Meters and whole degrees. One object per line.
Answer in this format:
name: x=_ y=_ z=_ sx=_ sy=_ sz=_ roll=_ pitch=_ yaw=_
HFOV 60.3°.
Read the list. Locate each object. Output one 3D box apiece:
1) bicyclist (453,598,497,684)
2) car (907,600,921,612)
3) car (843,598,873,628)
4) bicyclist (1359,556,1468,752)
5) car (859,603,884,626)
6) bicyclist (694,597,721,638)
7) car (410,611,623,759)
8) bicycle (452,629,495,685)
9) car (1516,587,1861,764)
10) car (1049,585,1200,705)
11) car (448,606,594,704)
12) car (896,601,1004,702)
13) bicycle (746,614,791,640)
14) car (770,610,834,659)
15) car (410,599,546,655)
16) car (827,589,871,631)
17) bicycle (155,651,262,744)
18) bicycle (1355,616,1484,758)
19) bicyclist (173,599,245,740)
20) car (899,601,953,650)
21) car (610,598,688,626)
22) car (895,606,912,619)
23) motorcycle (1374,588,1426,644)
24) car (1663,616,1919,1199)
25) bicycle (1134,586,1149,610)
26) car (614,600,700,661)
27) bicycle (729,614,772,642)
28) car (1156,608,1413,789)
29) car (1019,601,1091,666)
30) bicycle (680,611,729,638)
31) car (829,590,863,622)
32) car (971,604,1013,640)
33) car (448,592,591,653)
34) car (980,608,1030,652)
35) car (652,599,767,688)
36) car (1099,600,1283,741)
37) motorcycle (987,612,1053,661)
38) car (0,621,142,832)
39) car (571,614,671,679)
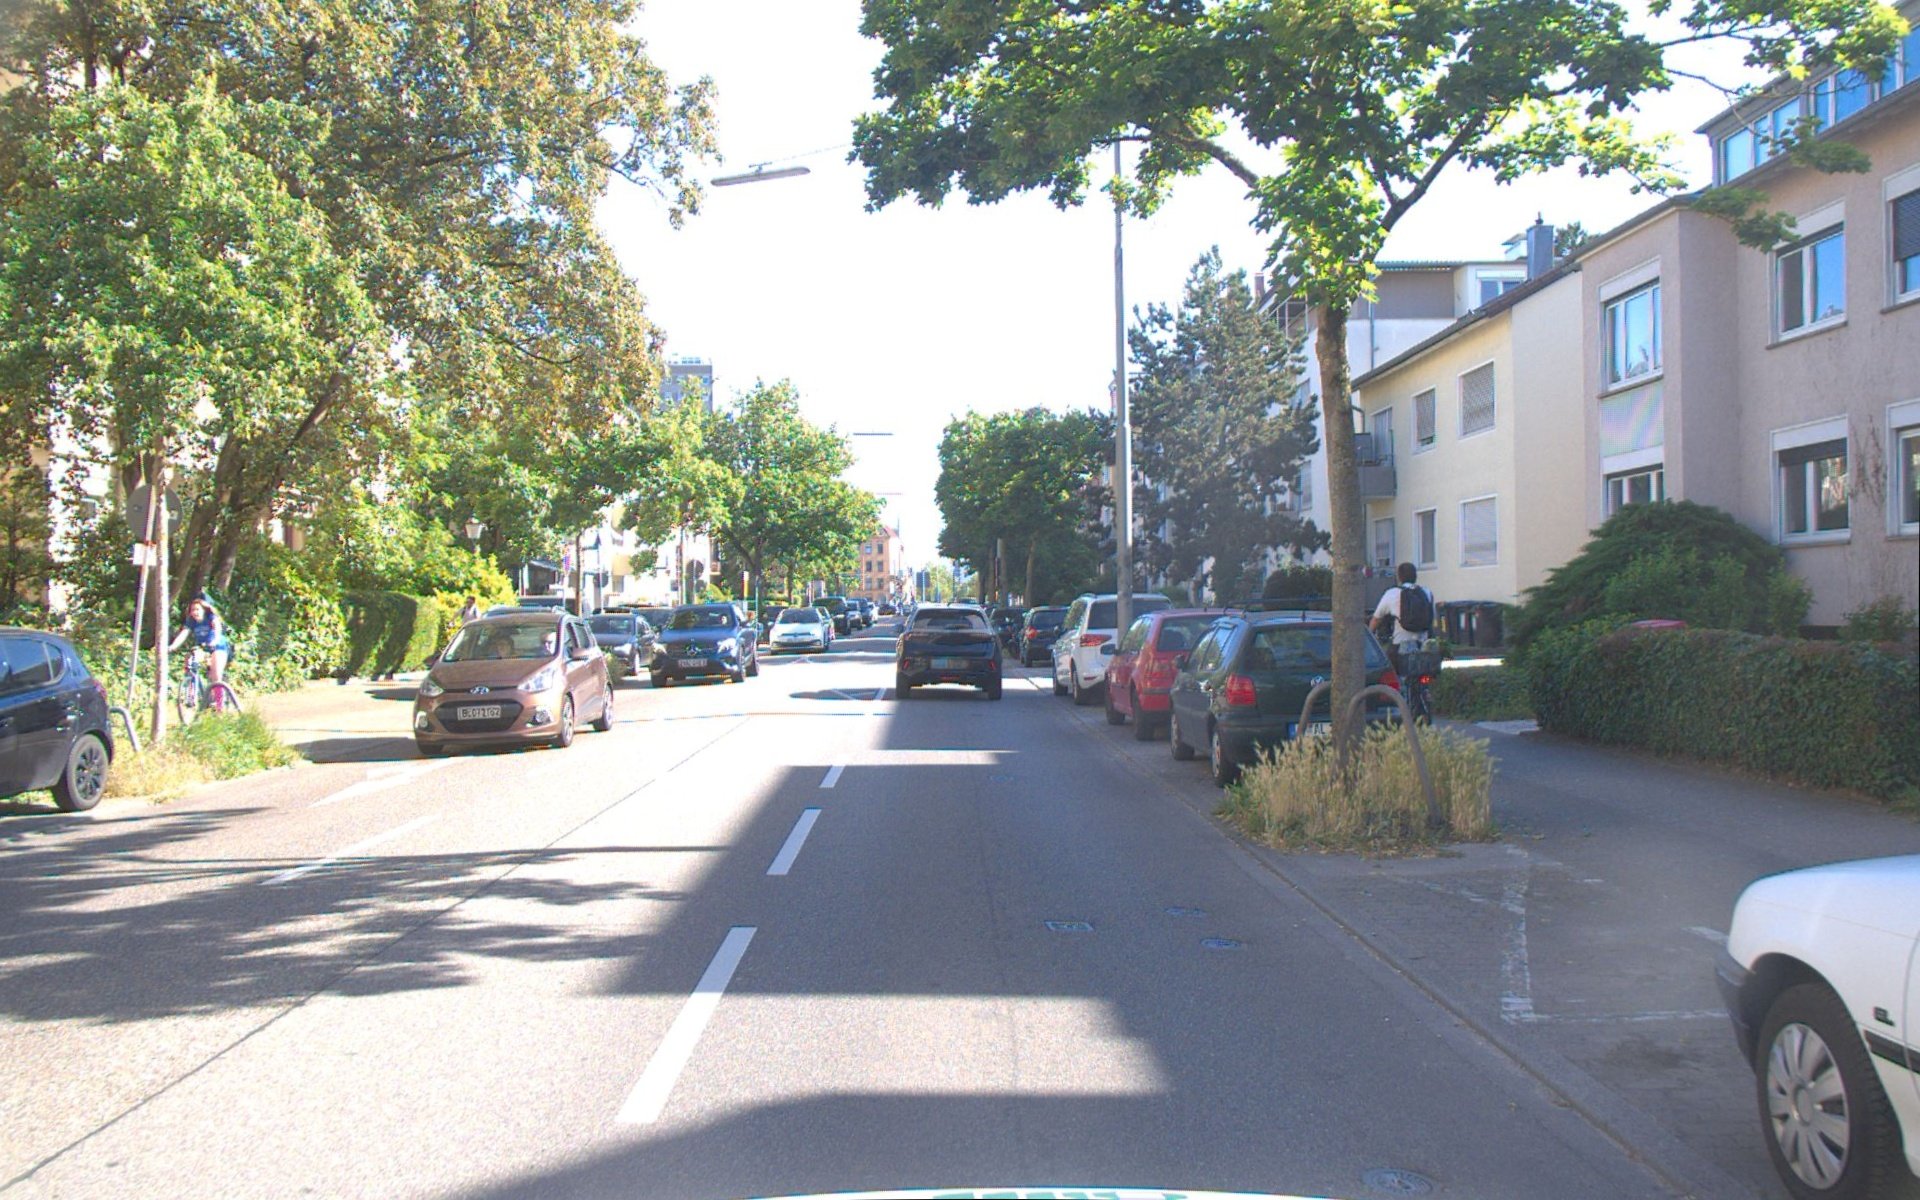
bicyclist: x=-10.405 y=0.862 z=35.508 sx=0.570 sy=1.798 sz=1.208 roll=1 pitch=0 yaw=-2
car: x=-5.950 y=0.781 z=212.422 sx=1.736 sy=1.478 sz=3.884 roll=-1 pitch=0 yaw=-2
car: x=-6.917 y=0.875 z=112.768 sx=1.767 sy=1.944 sz=4.710 roll=-3 pitch=0 yaw=-1
bicyclist: x=4.405 y=0.511 z=16.127 sx=0.709 sy=1.824 sz=1.015 roll=-2 pitch=0 yaw=-1
car: x=-7.029 y=1.113 z=131.869 sx=1.770 sy=1.676 sz=4.671 roll=-3 pitch=0 yaw=-2
bicyclist: x=-11.659 y=0.825 z=76.391 sx=1.029 sy=1.856 sz=0.661 roll=-1 pitch=0 yaw=10
car: x=-5.070 y=0.909 z=19.353 sx=1.549 sy=1.477 sz=3.743 roll=-2 pitch=0 yaw=-2
bicycle: x=-10.411 y=1.207 z=35.442 sx=0.439 sy=1.135 sz=1.764 roll=1 pitch=0 yaw=-2
car: x=6.707 y=0.634 z=15.666 sx=1.501 sy=1.379 sz=3.717 roll=-4 pitch=0 yaw=-1
car: x=2.526 y=0.666 z=26.351 sx=1.733 sy=1.688 sz=4.339 roll=-2 pitch=0 yaw=-3
car: x=-7.892 y=0.943 z=30.090 sx=1.592 sy=1.616 sz=4.346 roll=1 pitch=0 yaw=-2
car: x=-0.197 y=0.829 z=28.115 sx=1.710 sy=1.601 sz=3.557 roll=0 pitch=0 yaw=-1
bicycle: x=-8.487 y=1.186 z=73.260 sx=1.982 sy=1.111 sz=0.462 roll=0 pitch=0 yaw=22
car: x=-5.122 y=1.087 z=54.204 sx=1.698 sy=1.437 sz=4.191 roll=-3 pitch=0 yaw=-1
car: x=-14.940 y=0.809 z=51.274 sx=3.858 sy=1.673 sz=1.667 roll=0 pitch=0 yaw=-26
car: x=-5.655 y=0.506 z=84.781 sx=1.976 sy=1.986 sz=5.176 roll=-3 pitch=0 yaw=-2
bicycle: x=-9.723 y=1.237 z=21.462 sx=0.596 sy=1.091 sz=1.743 roll=-1 pitch=0 yaw=-1
bicycle: x=4.449 y=0.812 z=16.143 sx=0.684 sy=1.268 sz=1.821 roll=-2 pitch=0 yaw=-1
bicyclist: x=-9.742 y=0.887 z=21.470 sx=0.596 sy=1.785 sz=0.691 roll=-1 pitch=0 yaw=-1
car: x=-1.168 y=0.867 z=58.075 sx=1.793 sy=1.606 sz=3.839 roll=-1 pitch=0 yaw=0
car: x=-16.909 y=0.661 z=90.009 sx=3.906 sy=1.512 sz=1.880 roll=0 pitch=0 yaw=-2
car: x=-6.328 y=1.393 z=186.583 sx=1.735 sy=1.478 sz=3.885 roll=-1 pitch=0 yaw=1
motorcycle: x=11.392 y=0.400 z=42.897 sx=0.623 sy=1.400 sz=2.425 roll=-2 pitch=0 yaw=-1
car: x=2.920 y=0.758 z=2.872 sx=1.615 sy=1.427 sz=3.969 roll=-3 pitch=0 yaw=-1
bicycle: x=10.287 y=-0.096 z=93.684 sx=0.579 sy=1.309 sz=1.689 roll=-4 pitch=0 yaw=-1
car: x=-8.282 y=0.802 z=45.495 sx=1.643 sy=1.582 sz=4.007 roll=0 pitch=0 yaw=0
bicycle: x=-8.955 y=1.192 z=70.765 sx=1.893 sy=1.155 sz=0.462 roll=0 pitch=0 yaw=27
car: x=2.796 y=0.789 z=14.989 sx=1.501 sy=1.379 sz=3.717 roll=-2 pitch=0 yaw=-1
car: x=2.378 y=0.804 z=42.044 sx=1.587 sy=1.525 sz=3.649 roll=-2 pitch=0 yaw=0
bicycle: x=-11.808 y=1.132 z=76.436 sx=2.138 sy=1.213 sz=0.449 roll=-2 pitch=0 yaw=9
car: x=-6.983 y=0.367 z=101.747 sx=1.779 sy=1.773 sz=4.491 roll=-3 pitch=0 yaw=-2
car: x=1.371 y=0.902 z=69.605 sx=1.657 sy=1.453 sz=4.148 roll=-1 pitch=0 yaw=2
car: x=-14.419 y=0.700 z=54.197 sx=4.263 sy=1.912 sz=1.863 roll=0 pitch=0 yaw=-27
car: x=1.540 y=1.017 z=58.090 sx=1.554 sy=1.420 sz=4.453 roll=-3 pitch=0 yaw=0
car: x=-5.203 y=0.861 z=34.901 sx=1.799 sy=1.642 sz=4.399 roll=-3 pitch=0 yaw=-2
car: x=2.651 y=0.761 z=19.706 sx=1.501 sy=1.475 sz=3.716 roll=-2 pitch=0 yaw=-2
motorcycle: x=1.656 y=1.028 z=46.407 sx=0.690 sy=1.294 sz=2.409 roll=-2 pitch=0 yaw=-28
car: x=-7.702 y=0.921 z=11.968 sx=1.568 sy=1.503 sz=3.931 roll=0 pitch=0 yaw=1
car: x=-8.103 y=1.080 z=39.829 sx=1.603 sy=1.441 sz=4.089 roll=1 pitch=0 yaw=-1
